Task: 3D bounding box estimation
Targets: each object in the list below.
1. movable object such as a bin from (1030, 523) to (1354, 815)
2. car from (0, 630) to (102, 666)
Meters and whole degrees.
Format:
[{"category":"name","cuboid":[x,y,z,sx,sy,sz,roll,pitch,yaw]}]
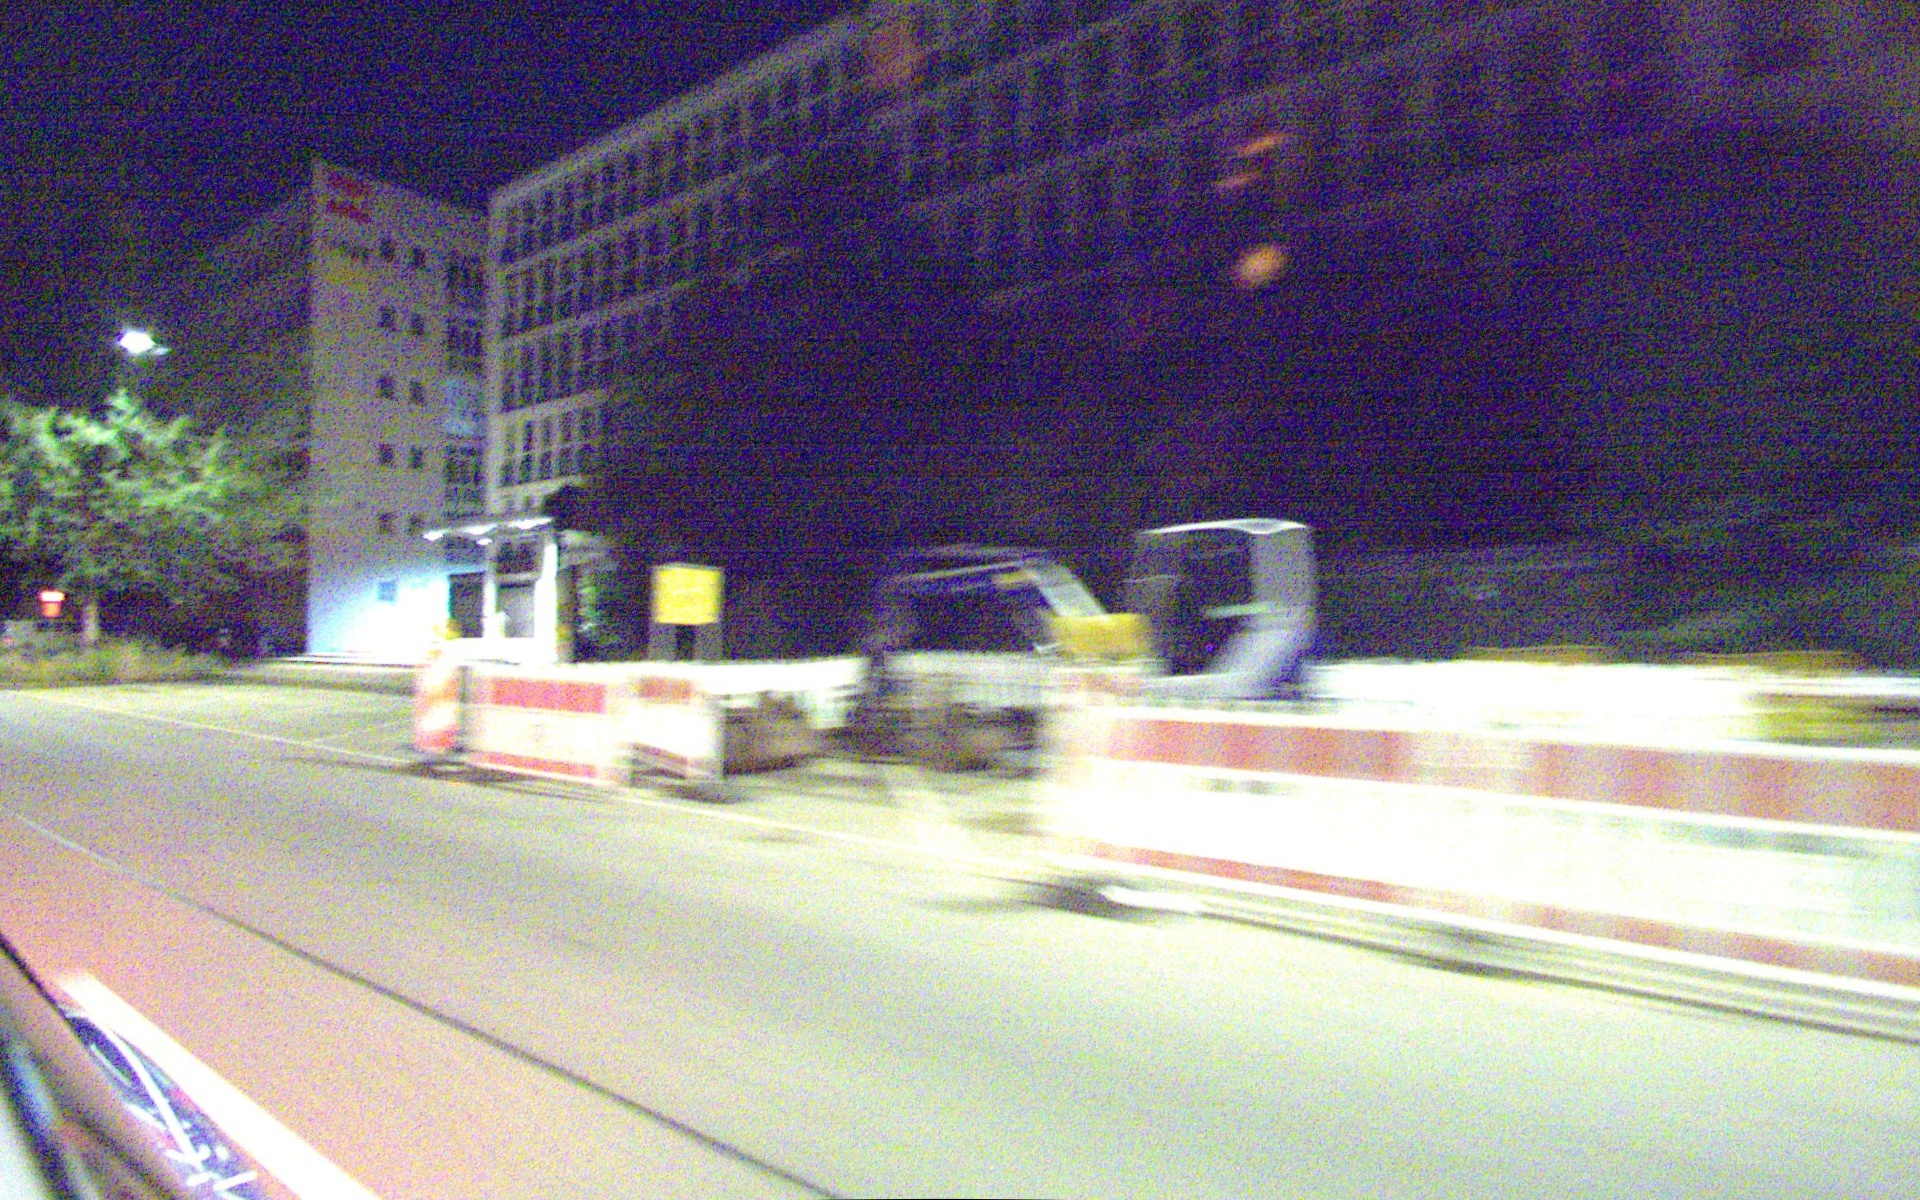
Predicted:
[{"category":"movable object such as a bin","cuboid":[2.223,0.629,9.802,2.815,2.486,1.545,0,-4,17]},{"category":"car","cuboid":[-52.147,2.715,57.858,1.996,1.987,4.392,-3,-3,36]}]
